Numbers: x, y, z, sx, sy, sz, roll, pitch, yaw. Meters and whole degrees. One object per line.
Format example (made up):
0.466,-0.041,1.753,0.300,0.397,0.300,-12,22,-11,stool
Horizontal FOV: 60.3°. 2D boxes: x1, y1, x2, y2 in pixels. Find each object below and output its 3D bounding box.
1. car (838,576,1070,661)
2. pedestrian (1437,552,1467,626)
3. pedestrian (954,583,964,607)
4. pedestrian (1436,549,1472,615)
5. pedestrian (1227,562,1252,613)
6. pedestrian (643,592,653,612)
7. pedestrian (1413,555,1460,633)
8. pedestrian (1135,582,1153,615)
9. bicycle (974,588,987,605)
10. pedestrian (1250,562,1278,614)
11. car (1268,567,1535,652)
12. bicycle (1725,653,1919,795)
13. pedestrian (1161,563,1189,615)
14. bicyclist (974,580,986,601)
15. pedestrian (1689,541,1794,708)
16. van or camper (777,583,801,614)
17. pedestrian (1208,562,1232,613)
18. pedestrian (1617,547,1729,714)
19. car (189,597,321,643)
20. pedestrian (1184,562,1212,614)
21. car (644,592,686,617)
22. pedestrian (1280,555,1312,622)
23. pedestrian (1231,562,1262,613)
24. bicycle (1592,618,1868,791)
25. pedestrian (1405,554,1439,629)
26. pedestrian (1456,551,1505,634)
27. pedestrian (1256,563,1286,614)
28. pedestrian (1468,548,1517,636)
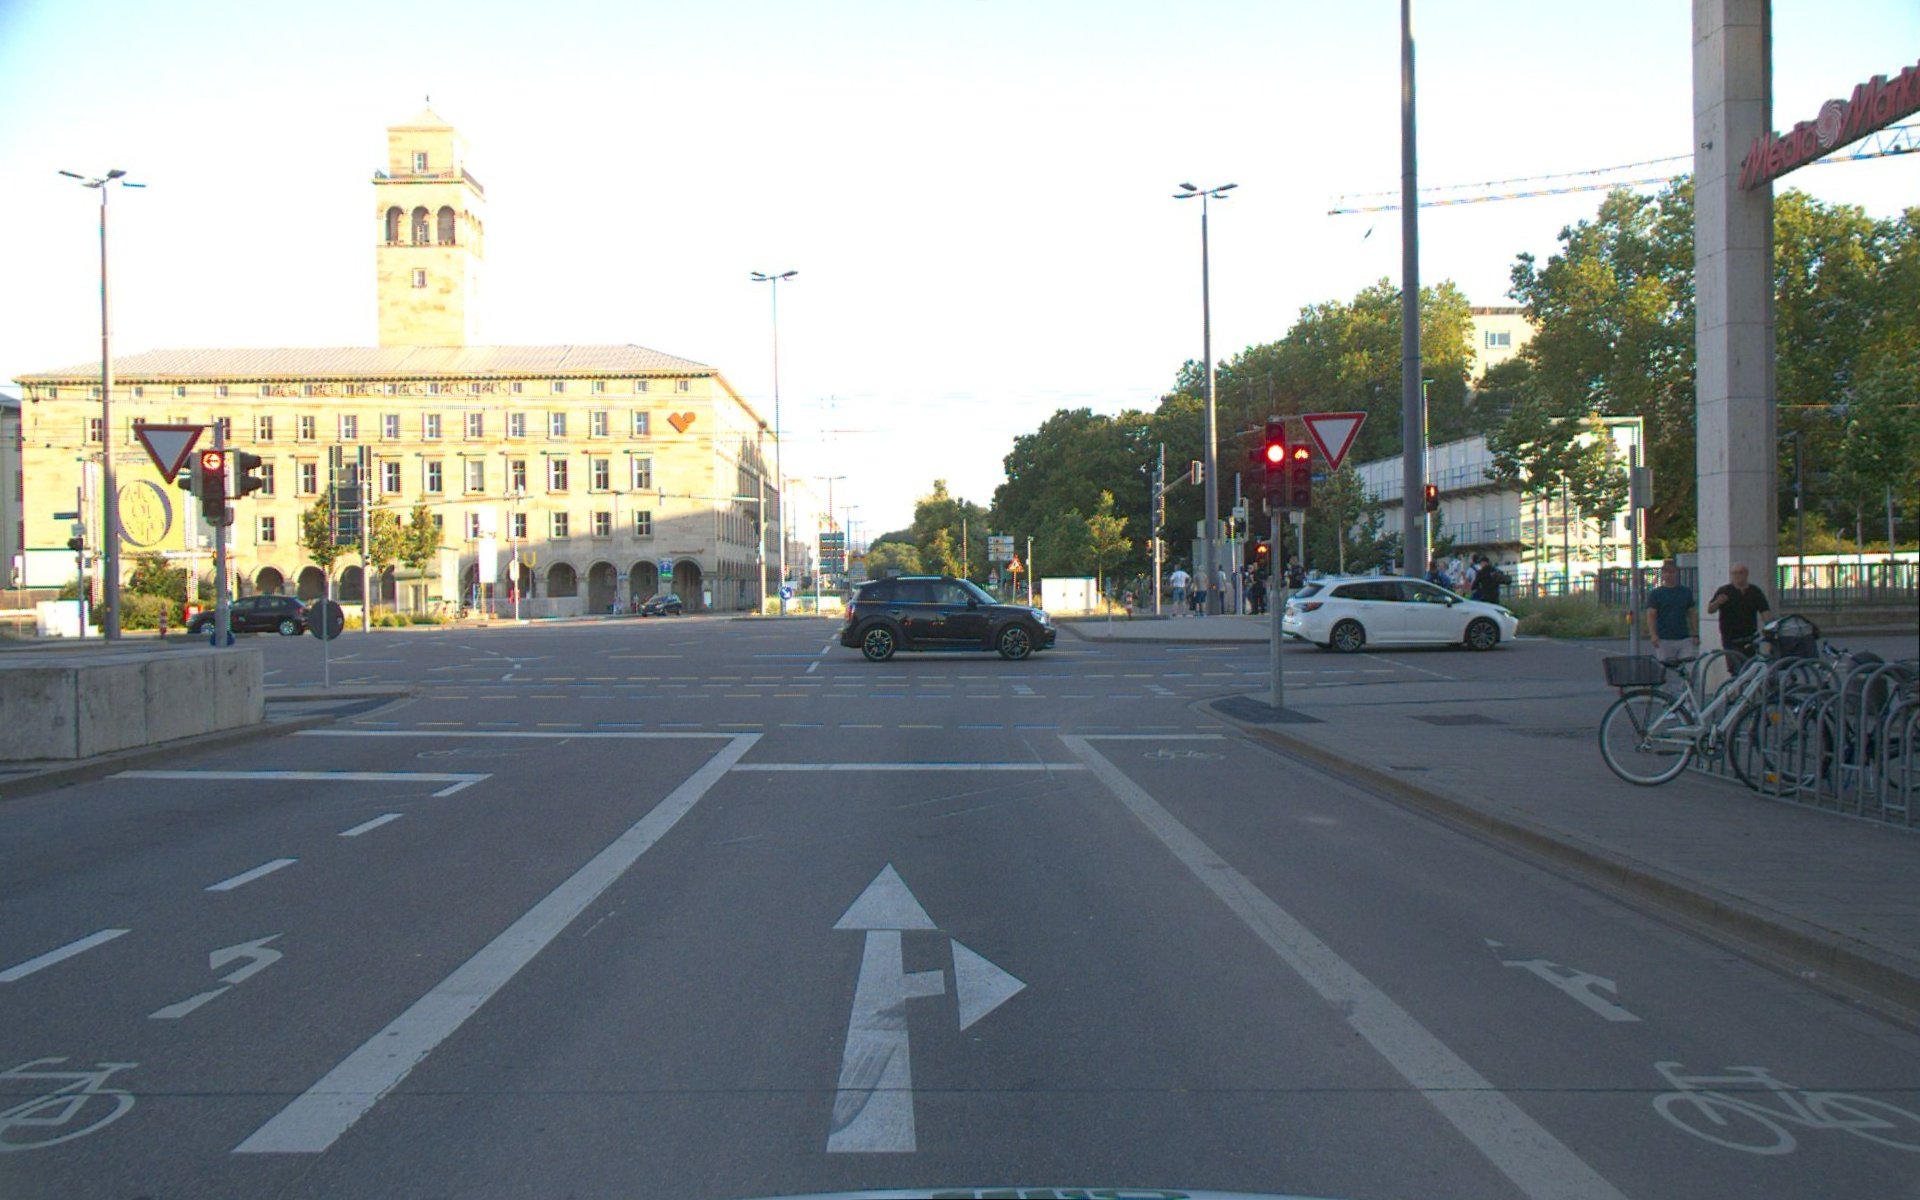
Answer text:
-0.153,0.330,32.434,4.371,1.522,2.127,-1,1,-3,car
11.827,-0.265,39.769,0.671,1.760,0.896,-1,0,16,pedestrian
-0.061,-0.295,97.580,0.512,1.398,0.687,-1,0,-6,pedestrian
13.559,-0.495,45.383,0.672,1.760,0.838,-1,0,-4,pedestrian
9.686,-0.437,57.309,0.791,1.760,0.688,-1,0,10,pedestrian
-24.846,0.179,131.910,0.621,1.595,0.775,-1,0,-1,pedestrian
10.958,-0.143,38.046,0.874,1.760,0.688,-1,0,1,pedestrian
9.913,-0.064,89.094,0.792,1.760,0.928,-1,0,-4,pedestrian
1.228,-0.210,98.647,0.639,0.987,1.483,-1,1,-5,bicycle
10.527,-0.413,57.366,0.792,1.760,0.687,-1,0,-3,pedestrian
8.707,0.167,32.904,4.701,1.522,2.127,-1,1,-3,car
6.608,0.888,12.073,1.830,0.952,0.516,-1,0,-4,bicycle
7.408,-0.375,57.056,0.792,1.760,0.687,-1,0,-4,pedestrian
1.204,-0.589,98.624,0.639,1.245,0.860,-1,1,-6,bicyclist
8.862,0.265,18.781,0.741,1.807,0.740,-4,1,-1,pedestrian
-15.979,-0.205,154.764,1.846,2.808,4.930,-1,1,-2,van or camper
9.115,-0.432,58.018,0.791,1.760,0.688,-1,0,10,pedestrian
8.071,0.332,18.757,0.843,1.807,0.740,-4,1,-1,pedestrian
-24.276,0.674,57.038,3.906,1.478,1.541,-1,1,-12,car
8.215,-0.413,57.097,0.792,1.760,0.687,-1,0,-4,pedestrian
-21.184,0.310,118.884,1.951,1.691,4.003,-1,1,6,car
8.968,-0.311,44.160,0.678,1.760,0.741,-1,0,0,pedestrian
10.173,-0.441,58.759,0.680,1.760,0.801,-1,1,-35,pedestrian
5.747,0.772,12.430,1.778,1.233,0.571,-1,0,14,bicycle
10.988,-0.203,39.347,0.671,1.760,0.896,-1,0,11,pedestrian
11.906,-0.178,37.855,0.875,1.872,0.688,-1,0,-2,pedestrian
10.883,-0.409,57.895,0.678,1.760,0.803,-1,0,-28,pedestrian
11.433,-0.179,35.529,0.874,1.862,0.688,-1,0,6,pedestrian
